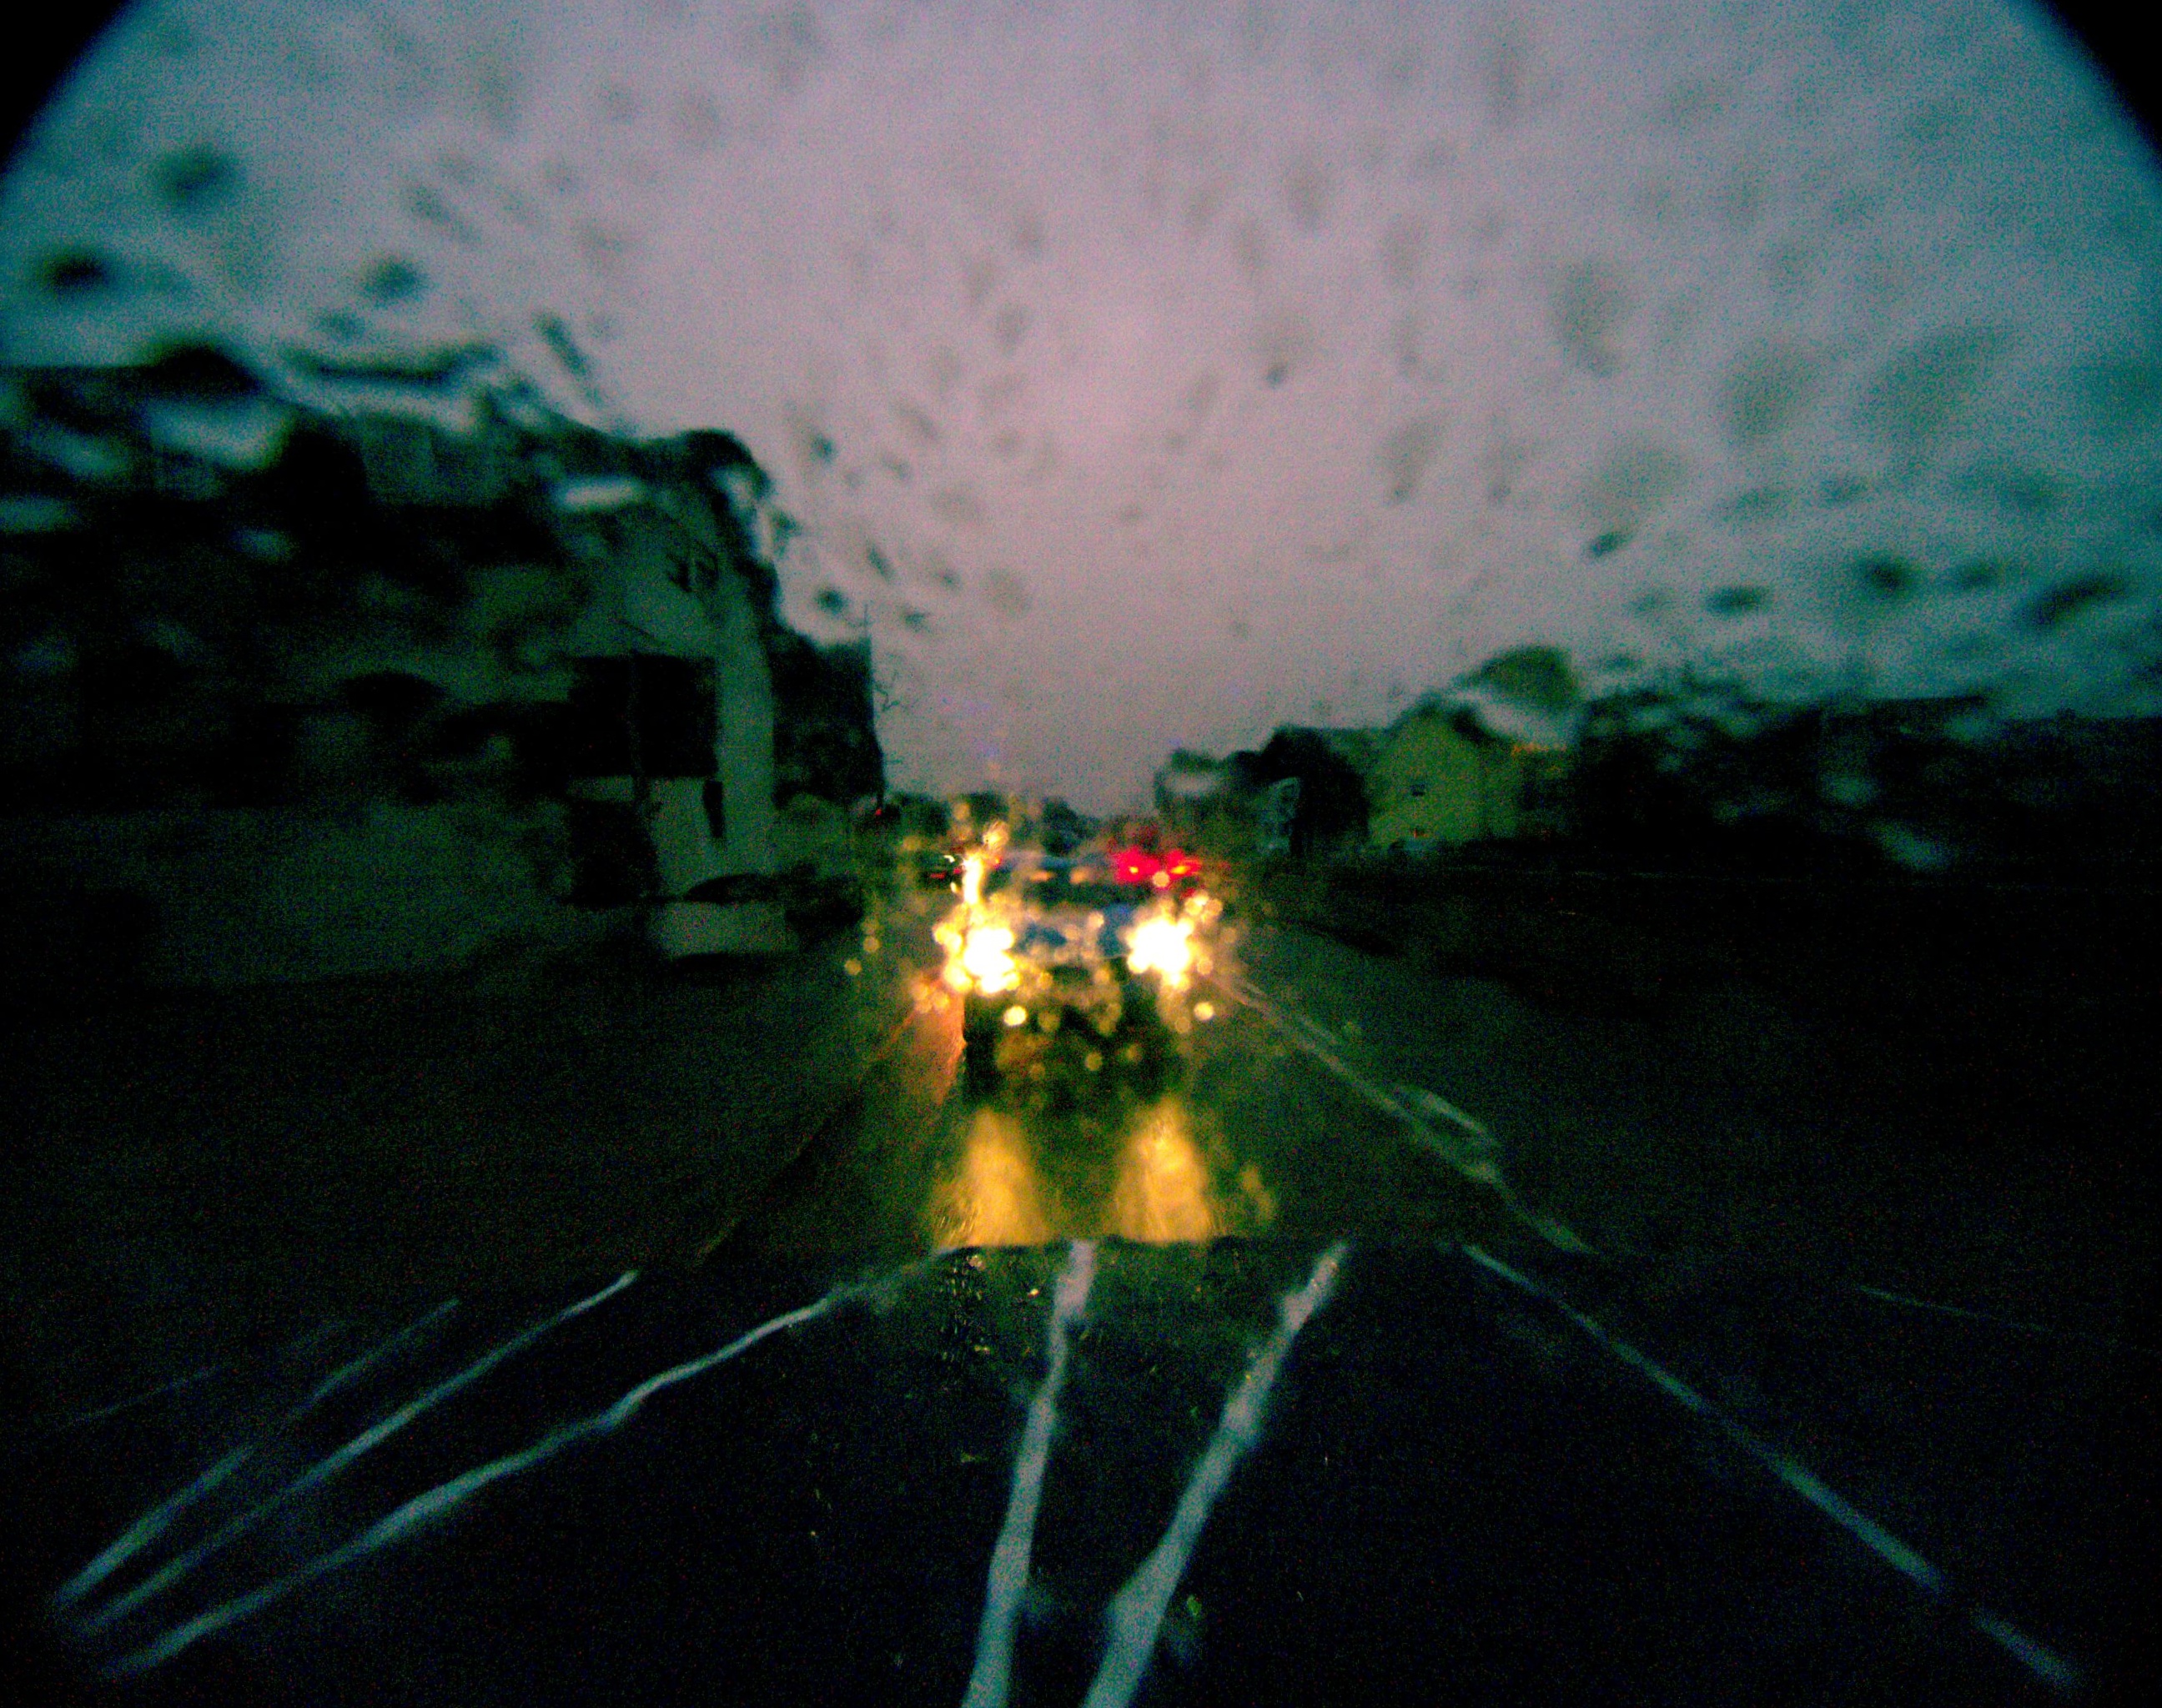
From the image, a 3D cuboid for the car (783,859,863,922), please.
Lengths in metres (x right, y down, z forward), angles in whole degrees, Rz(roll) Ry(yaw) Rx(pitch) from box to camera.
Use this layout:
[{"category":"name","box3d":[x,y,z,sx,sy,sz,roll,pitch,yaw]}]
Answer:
[{"category":"car","box3d":[-6.638,0.872,19.670,1.772,1.385,3.907,0,1,-18]}]

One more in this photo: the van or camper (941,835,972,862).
[{"category":"van or camper","box3d":[-13.191,-0.562,80.279,2.249,2.653,6.544,-1,1,-18]}]

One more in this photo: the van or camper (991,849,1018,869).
[{"category":"van or camper","box3d":[-5.547,0.338,54.691,1.568,1.347,3.417,-1,1,-13]}]

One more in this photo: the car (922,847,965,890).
[{"category":"car","box3d":[-6.115,0.592,34.110,1.775,1.771,3.996,1,0,-9]}]

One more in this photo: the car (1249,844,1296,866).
[{"category":"car","box3d":[14.155,0.049,56.436,1.775,1.515,4.026,-1,2,-13]}]

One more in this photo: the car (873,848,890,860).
[{"category":"car","box3d":[-25.856,-0.041,98.530,1.815,1.555,4.297,-1,1,-19]}]

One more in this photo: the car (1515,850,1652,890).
[{"category":"car","box3d":[19.269,0.560,29.427,1.880,1.425,4.497,0,0,-9]}]

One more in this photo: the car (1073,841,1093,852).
[{"category":"car","box3d":[0.300,-1.140,109.235,1.682,1.407,3.827,-4,3,-18]}]

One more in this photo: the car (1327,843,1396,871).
[{"category":"car","box3d":[16.582,0.168,45.100,1.880,1.589,4.220,0,0,-11]}]

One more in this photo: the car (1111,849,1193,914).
[{"category":"car","box3d":[1.920,0.702,21.573,1.742,1.643,3.999,-1,0,-3]}]

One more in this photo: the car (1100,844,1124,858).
[{"category":"car","box3d":[3.939,-0.359,96.997,1.903,1.509,3.994,-4,3,-13]}]

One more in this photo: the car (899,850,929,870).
[{"category":"car","box3d":[-14.452,0.443,65.581,1.964,1.524,5.000,-4,2,-18]}]

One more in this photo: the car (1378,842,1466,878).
[{"category":"car","box3d":[17.589,0.284,39.444,1.880,1.768,4.496,0,0,-11]}]

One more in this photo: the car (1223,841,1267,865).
[{"category":"car","box3d":[12.969,-0.112,60.401,1.865,1.672,3.995,-4,2,-13]}]

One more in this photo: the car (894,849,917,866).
[{"category":"car","box3d":[-16.670,0.292,72.065,1.671,1.567,4.489,-1,1,-18]}]

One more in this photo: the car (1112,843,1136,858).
[{"category":"car","box3d":[5.174,-0.451,92.048,1.823,1.615,3.980,-4,1,-13]}]

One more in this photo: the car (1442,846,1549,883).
[{"category":"car","box3d":[18.588,0.461,34.364,1.880,1.563,4.497,0,0,-9]}]

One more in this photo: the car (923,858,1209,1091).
[{"category":"car","box3d":[-0.236,0.881,7.519,1.999,1.526,3.998,-3,1,-4]}]

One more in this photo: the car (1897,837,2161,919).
[{"category":"car","box3d":[20.859,0.433,16.631,1.570,1.571,3.817,0,1,-9]}]

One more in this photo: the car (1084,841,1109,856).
[{"category":"car","box3d":[2.085,-0.735,104.102,2.001,1.894,4.350,-4,2,-20]}]

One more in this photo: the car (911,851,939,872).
[{"category":"car","box3d":[-11.427,0.522,55.347,1.659,1.446,4.231,1,0,-16]}]

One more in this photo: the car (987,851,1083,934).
[{"category":"car","box3d":[-1.251,0.822,18.348,1.907,1.630,4.561,1,1,-8]}]

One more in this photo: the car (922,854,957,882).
[{"category":"car","box3d":[-7.446,0.718,39.765,1.651,1.407,2.724,1,0,-13]}]

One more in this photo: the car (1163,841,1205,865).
[{"category":"car","box3d":[7.896,-0.120,58.488,1.806,1.793,3.854,-1,2,-16]}]
